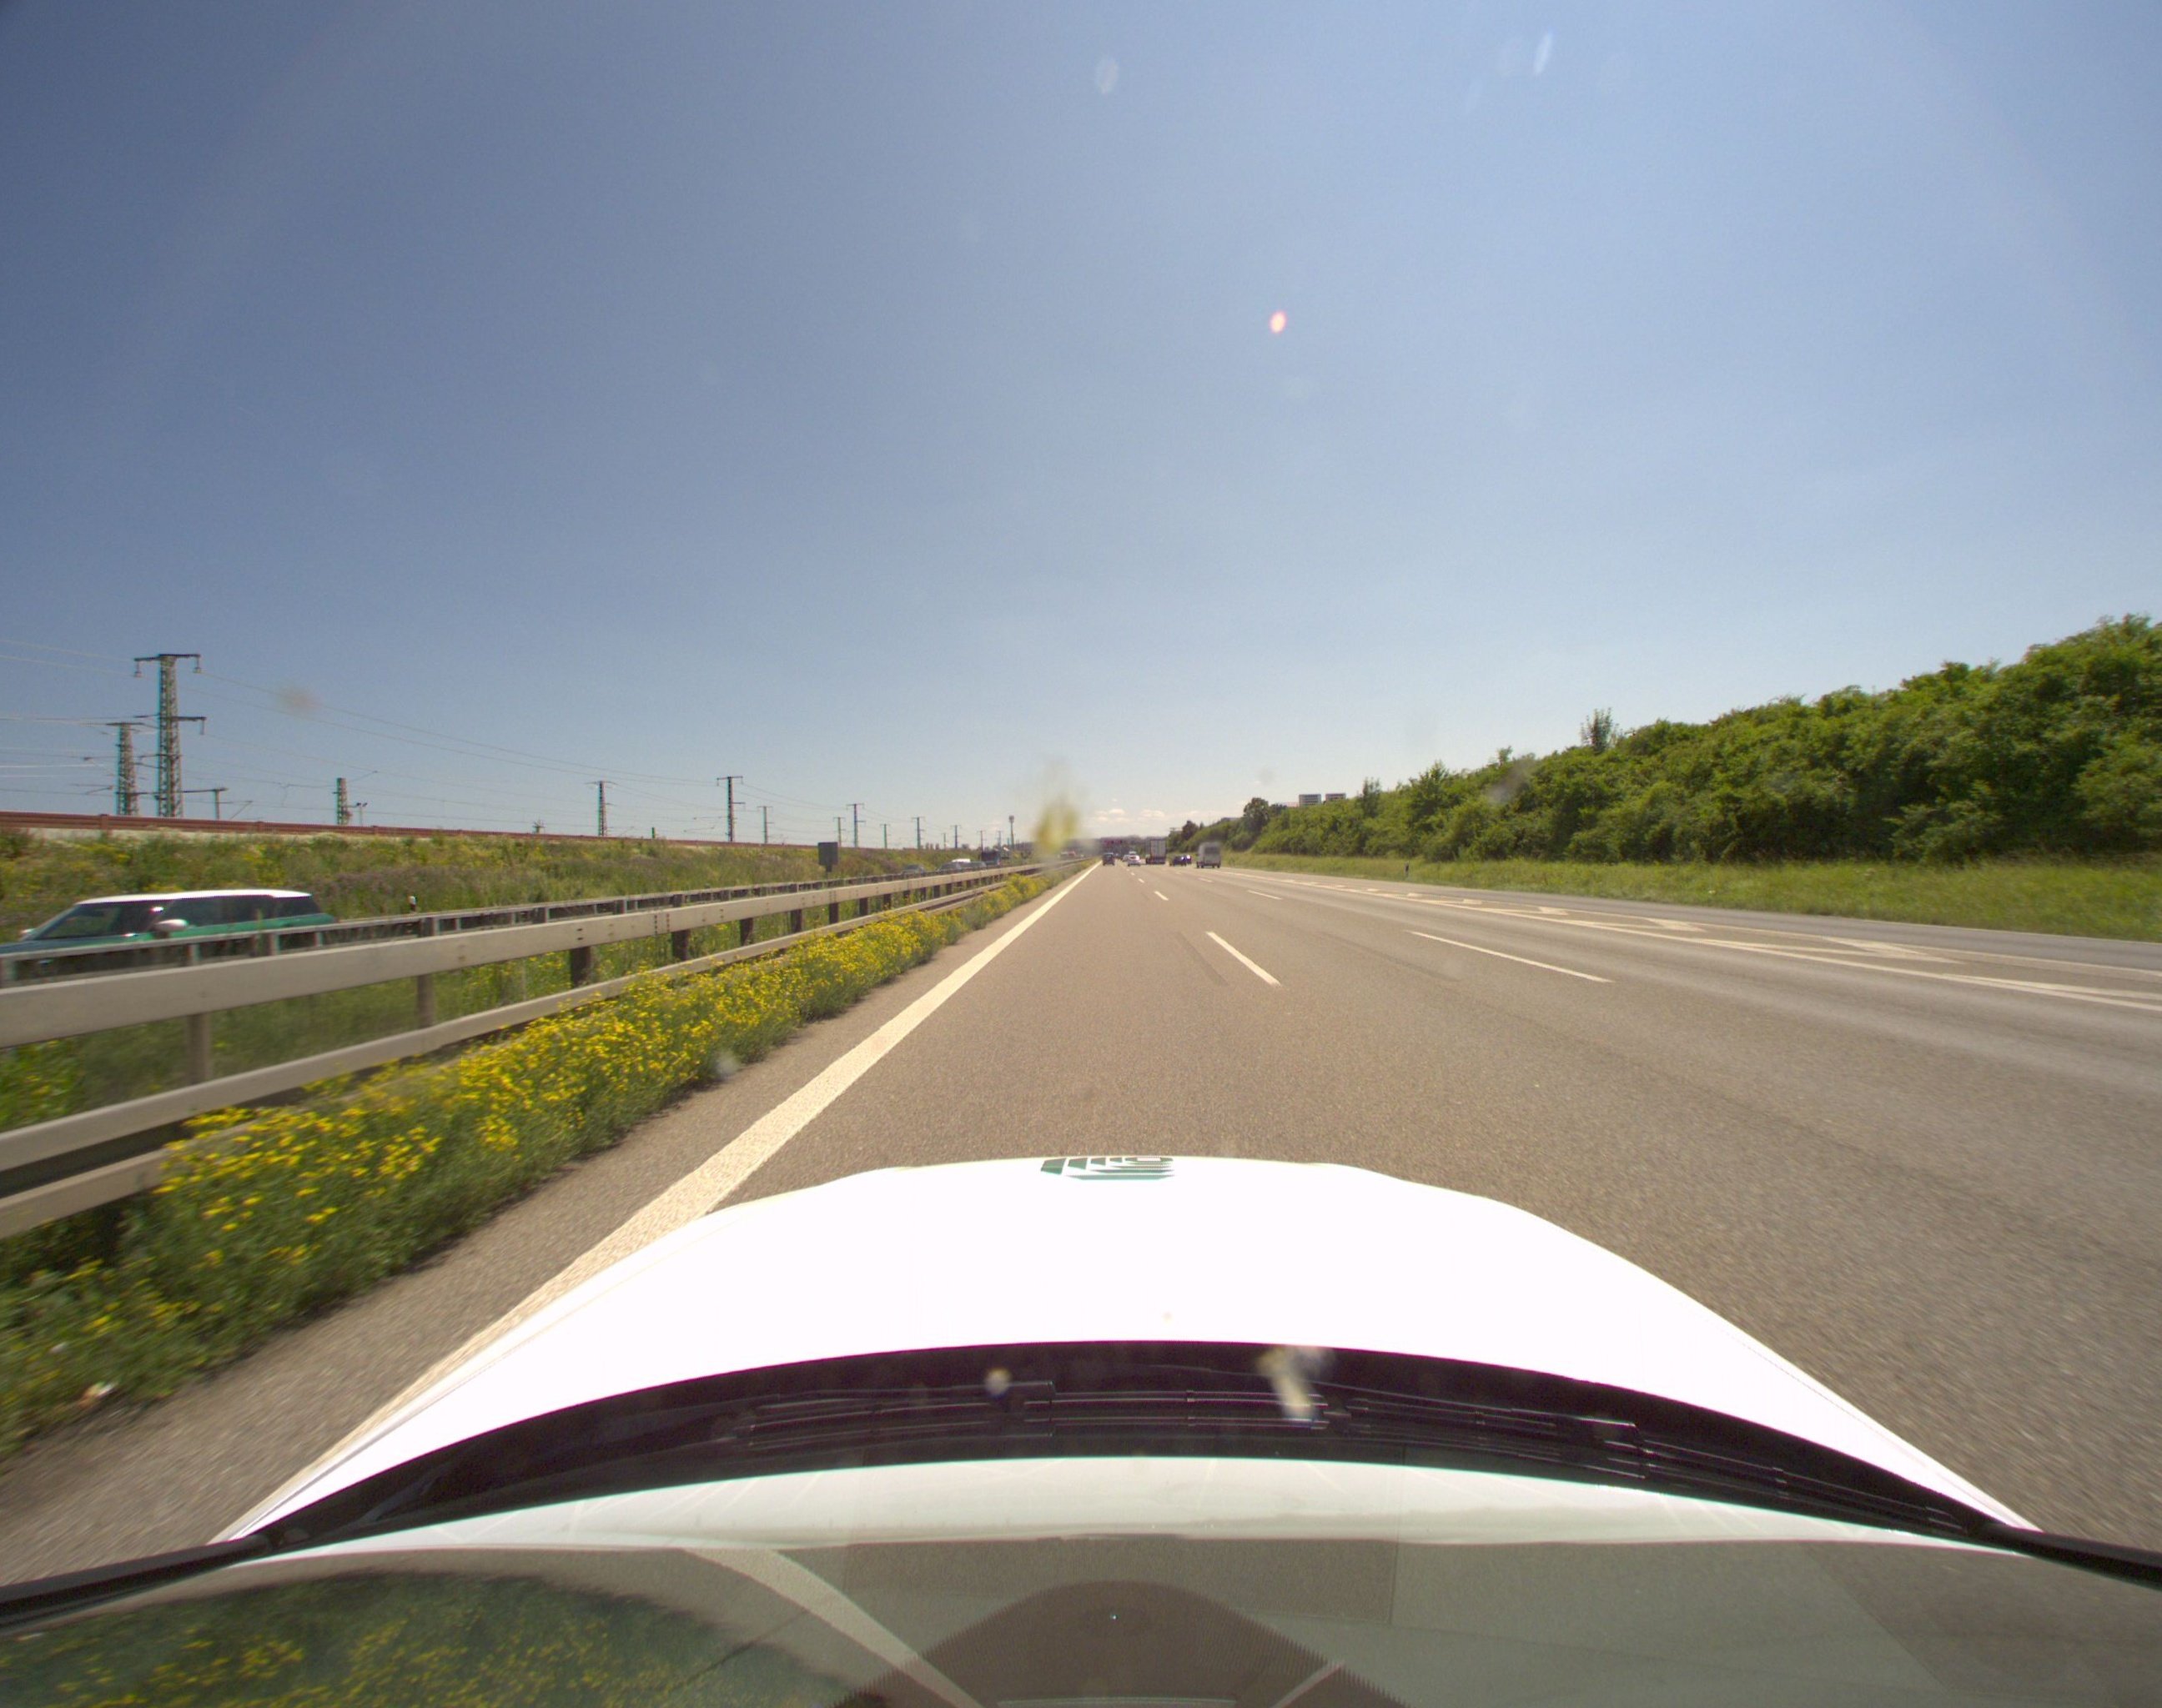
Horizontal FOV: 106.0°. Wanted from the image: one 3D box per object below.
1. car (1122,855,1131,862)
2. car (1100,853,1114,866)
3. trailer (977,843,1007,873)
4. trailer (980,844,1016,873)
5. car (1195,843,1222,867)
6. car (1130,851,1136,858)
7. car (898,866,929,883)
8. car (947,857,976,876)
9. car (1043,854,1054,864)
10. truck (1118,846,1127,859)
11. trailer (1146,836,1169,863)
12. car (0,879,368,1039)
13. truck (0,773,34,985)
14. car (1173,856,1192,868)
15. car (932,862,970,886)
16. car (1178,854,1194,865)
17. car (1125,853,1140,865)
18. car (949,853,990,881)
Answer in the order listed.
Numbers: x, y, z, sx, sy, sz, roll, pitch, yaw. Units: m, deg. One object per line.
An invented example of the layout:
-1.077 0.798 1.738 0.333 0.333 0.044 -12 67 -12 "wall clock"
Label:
9.926 1.051 177.833 1.873 1.526 4.003 -1 -1 3 "car"
3.904 0.819 121.554 1.873 1.775 4.002 -2 -1 2 "car"
-12.296 0.575 112.509 3.039 3.868 7.206 -2 0 1 "trailer"
-12.052 0.586 119.819 3.039 3.868 15.982 -2 0 2 "trailer"
14.000 0.099 89.757 2.266 2.528 5.400 -1 0 1 "car"
16.802 0.080 262.284 1.985 2.013 4.441 -2 0 4 "car"
-16.815 2.043 82.083 1.913 1.417 4.586 -3 0 2 "car"
-11.994 1.239 82.281 1.913 1.800 5.199 -3 0 2 "car"
-6.806 0.985 170.720 1.986 2.013 5.433 -1 0 1 "car"
11.497 -0.502 223.750 2.346 3.416 6.060 -1 0 2 "truck"
12.368 -0.740 132.319 3.165 4.059 9.444 -2 0 2 "trailer"
-12.395 1.259 10.955 1.913 1.610 4.002 -3 0 2 "car"
-19.209 0.408 9.847 2.846 3.466 7.784 0 0 2 "truck"
13.355 1.063 107.420 1.987 1.508 3.998 0 -1 0 "car"
-10.114 1.520 63.809 1.913 1.610 5.397 -3 0 1 "car"
16.060 0.838 124.814 1.986 1.596 4.001 0 -1 1 "car"
7.086 0.683 111.841 1.872 1.526 4.005 -1 -1 5 "car"
-7.223 0.793 53.089 1.986 1.720 4.002 -1 0 2 "car"
